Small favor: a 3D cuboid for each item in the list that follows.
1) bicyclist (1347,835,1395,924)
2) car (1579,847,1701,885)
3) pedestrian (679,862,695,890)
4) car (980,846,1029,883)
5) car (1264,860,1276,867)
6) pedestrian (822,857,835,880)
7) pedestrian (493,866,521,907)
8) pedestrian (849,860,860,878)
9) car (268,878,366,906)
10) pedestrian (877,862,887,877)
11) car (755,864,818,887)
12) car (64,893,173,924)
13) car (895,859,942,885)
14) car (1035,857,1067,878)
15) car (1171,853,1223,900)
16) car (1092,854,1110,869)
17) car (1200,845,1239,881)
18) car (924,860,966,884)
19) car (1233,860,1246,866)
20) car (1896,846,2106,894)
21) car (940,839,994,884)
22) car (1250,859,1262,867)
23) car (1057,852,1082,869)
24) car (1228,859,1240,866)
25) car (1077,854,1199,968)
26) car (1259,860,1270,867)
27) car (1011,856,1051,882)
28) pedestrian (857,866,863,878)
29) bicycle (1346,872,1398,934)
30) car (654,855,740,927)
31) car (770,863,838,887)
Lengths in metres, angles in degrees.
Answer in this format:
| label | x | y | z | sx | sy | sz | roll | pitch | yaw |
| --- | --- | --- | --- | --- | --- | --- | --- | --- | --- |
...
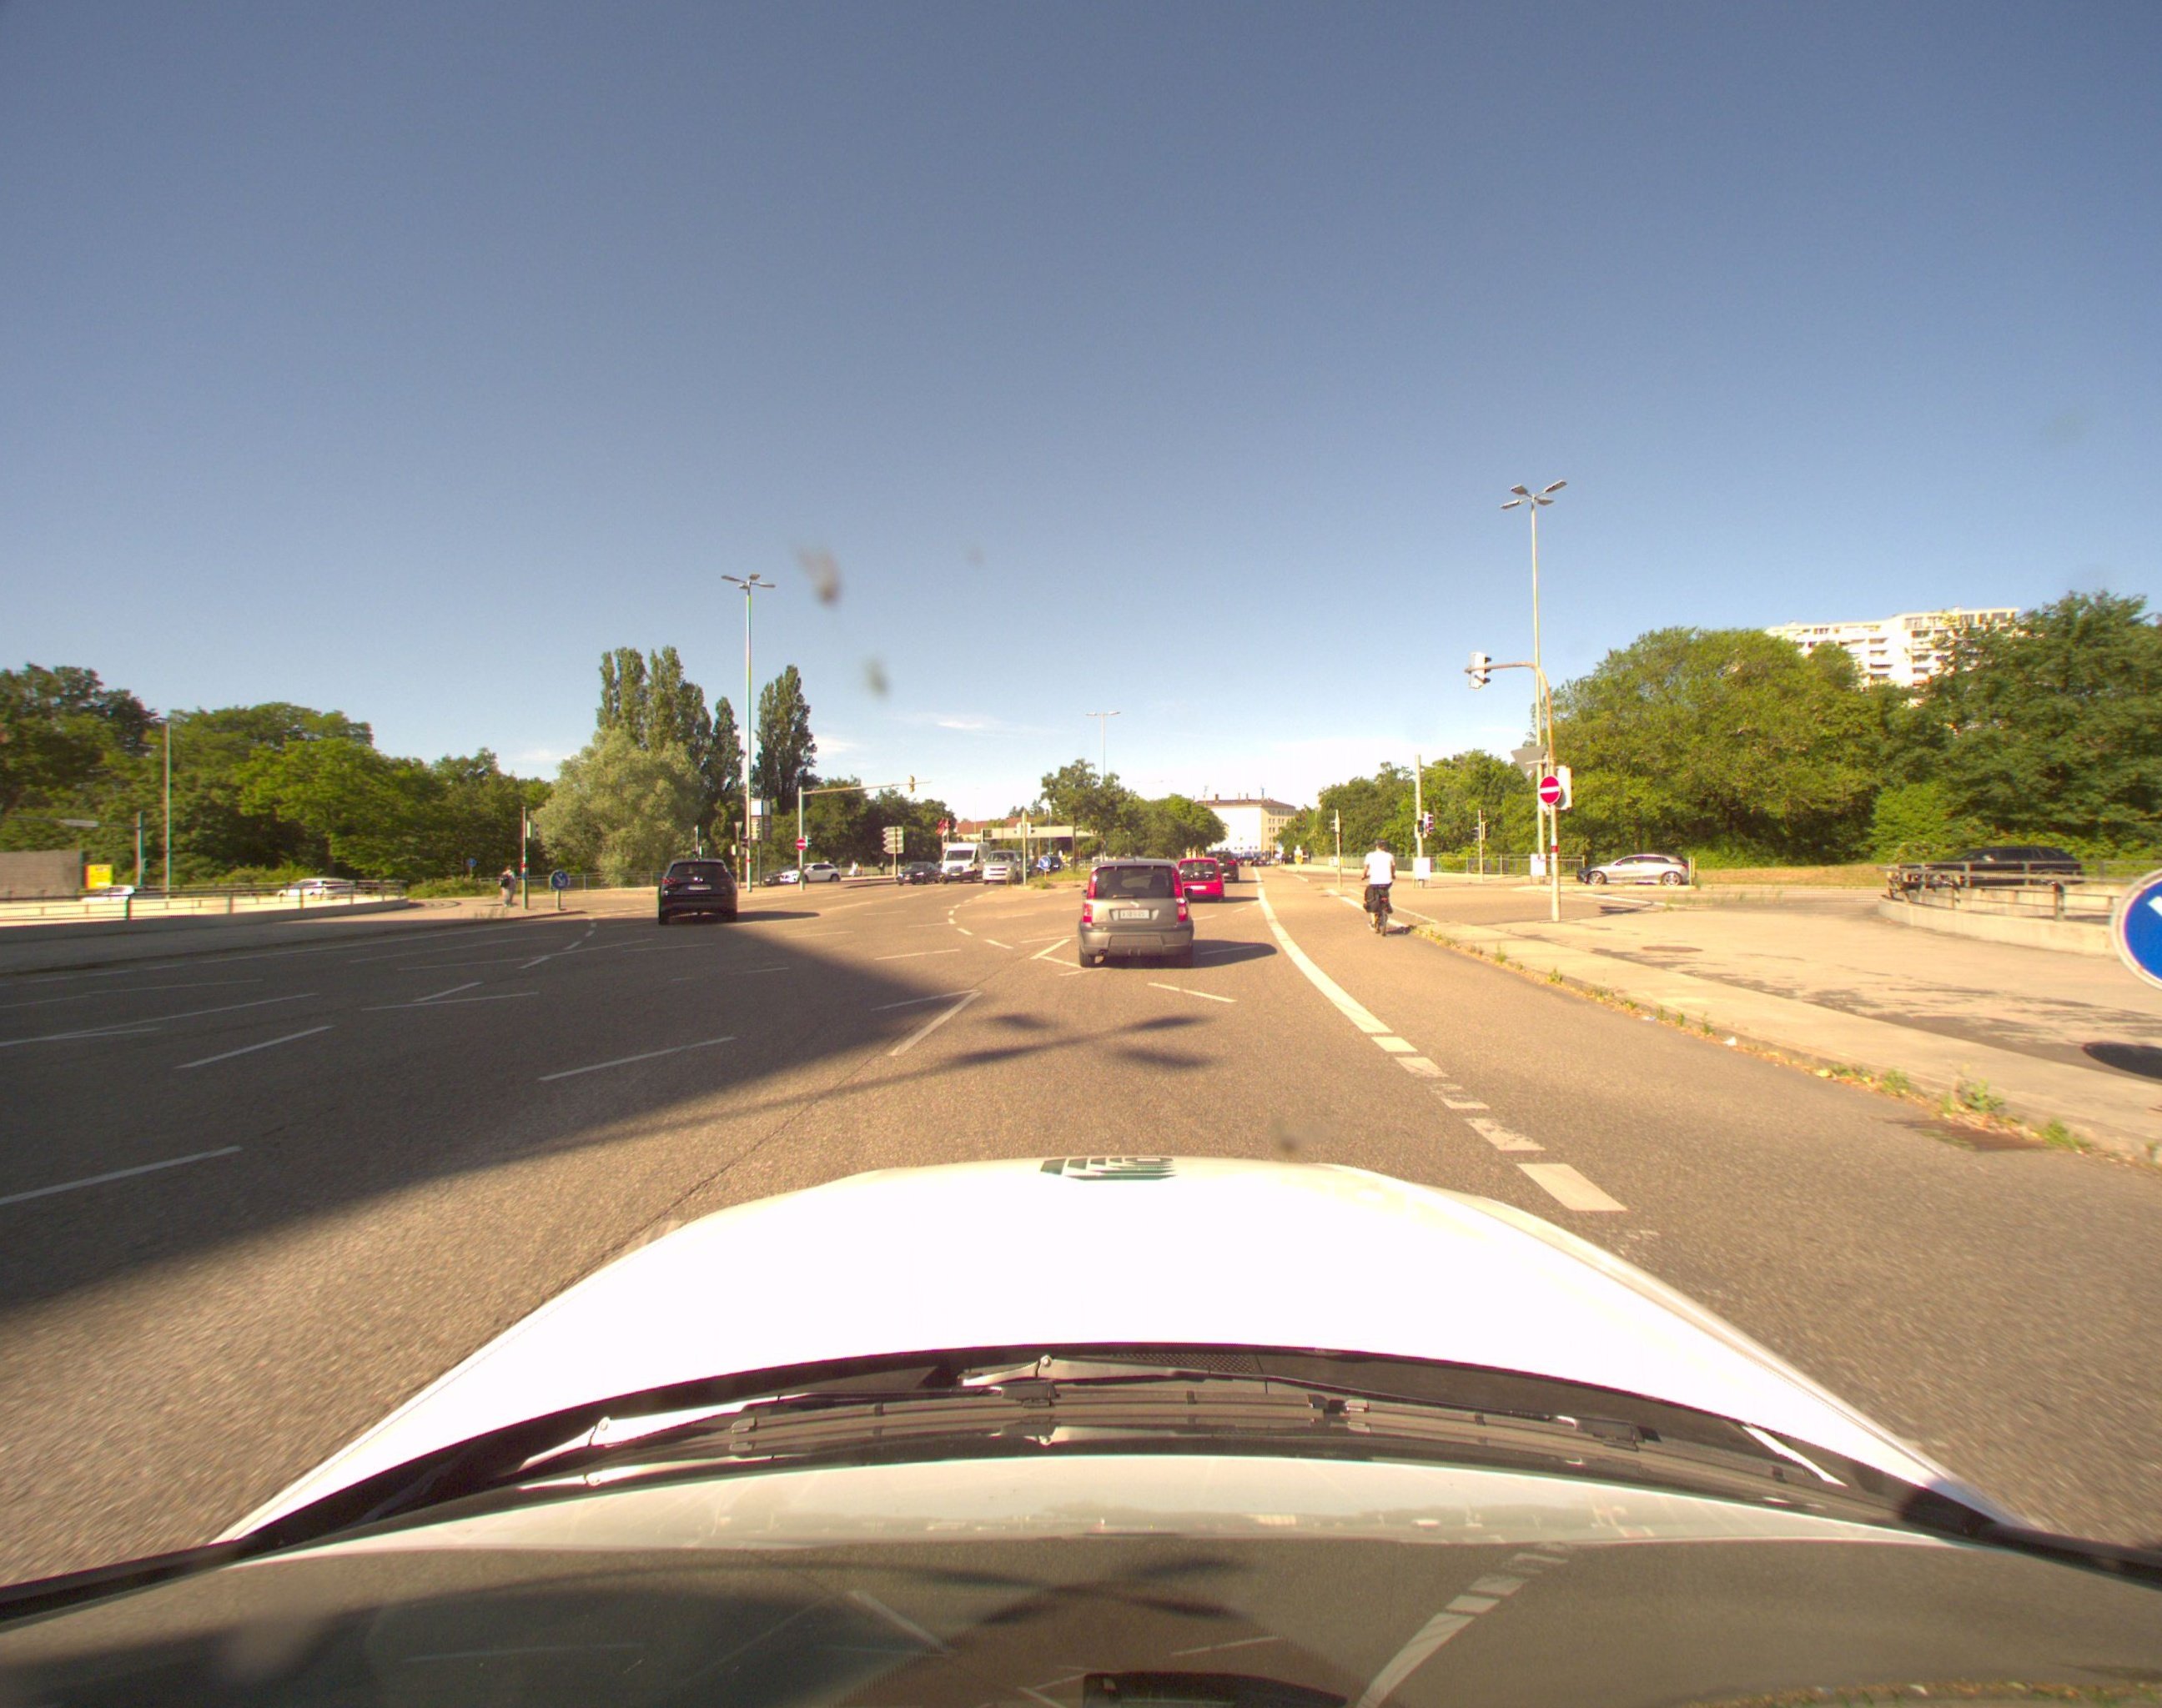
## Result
| label | x | y | z | sx | sy | sz | roll | pitch | yaw |
| --- | --- | --- | --- | --- | --- | --- | --- | --- | --- |
| bicyclist | 5.613 | 0.483 | 15.814 | 0.719 | 1.659 | 1.116 | 0 | -1 | 11 |
| car | 24.160 | 0.509 | 35.259 | 4.190 | 1.552 | 1.873 | -1 | 0 | 39 |
| pedestrian | -21.822 | 1.214 | 45.153 | 0.714 | 1.547 | 0.721 | -1 | -1 | -31 |
| car | -4.371 | 0.586 | 47.117 | 1.927 | 2.008 | 4.938 | -1 | 0 | 5 |
| car | 47.035 | 2.387 | 202.569 | 1.848 | 1.681 | 3.931 | -1 | -3 | 26 |
| pedestrian | -22.182 | 1.279 | 71.626 | 0.801 | 1.997 | 0.790 | 0 | -3 | 10 |
| pedestrian | -21.085 | 1.192 | 29.913 | 0.681 | 1.463 | 0.698 | -1 | -1 | -21 |
| pedestrian | -21.291 | 1.432 | 76.477 | 0.716 | 1.641 | 0.674 | 0 | -3 | 10 |
| car | -41.028 | 2.051 | 43.735 | 4.273 | 1.415 | 1.793 | -1 | 0 | 14 |
| pedestrian | -20.721 | 1.615 | 84.877 | 0.664 | 1.503 | 0.783 | -1 | -3 | 24 |
| car | -21.991 | 1.634 | 60.904 | 1.876 | 1.625 | 4.025 | -1 | -3 | 36 |
| car | -53.338 | 3.017 | 45.159 | 3.966 | 1.508 | 2.004 | -1 | 0 | 6 |
| car | -10.052 | 1.082 | 50.648 | 1.929 | 1.507 | 4.002 | -2 | 0 | 2 |
| car | -2.395 | 1.106 | 66.258 | 1.926 | 1.622 | 4.514 | -1 | 0 | 6 |
| car | 3.911 | 0.720 | 27.744 | 1.609 | 1.463 | 3.758 | 0 | 0 | 7 |
| car | 2.817 | 0.999 | 111.474 | 1.983 | 2.014 | 4.343 | -2 | -1 | 7 |
| car | 7.507 | 0.522 | 43.932 | 1.932 | 1.840 | 4.165 | 0 | -1 | 11 |
| car | -9.463 | 1.244 | 57.118 | 1.803 | 1.541 | 4.622 | -2 | 0 | 4 |
| car | 38.918 | 2.151 | 199.790 | 1.927 | 1.528 | 4.122 | -1 | -1 | 27 |
| car | 32.977 | 0.587 | 29.405 | 4.619 | 1.616 | 1.872 | -1 | 0 | 28 |
| car | -6.940 | 0.469 | 50.329 | 1.927 | 2.576 | 6.097 | -1 | 0 | 5 |
| car | 40.177 | 2.168 | 187.332 | 1.848 | 1.681 | 3.930 | -1 | -3 | 25 |
| car | -1.163 | 0.663 | 84.369 | 1.926 | 1.622 | 4.514 | -1 | 0 | 6 |
| car | 35.890 | 1.977 | 190.841 | 1.928 | 1.528 | 4.119 | -1 | -1 | 22 |
| car | 0.900 | 0.758 | 12.719 | 1.610 | 1.515 | 3.824 | 0 | 0 | 4 |
| car | 43.838 | 2.273 | 194.880 | 1.848 | 1.681 | 3.930 | -1 | -3 | 25 |
| car | -3.282 | 0.967 | 54.069 | 1.927 | 1.622 | 4.512 | -1 | 0 | 5 |
| pedestrian | -20.724 | 1.703 | 76.288 | 0.420 | 1.136 | 0.399 | 0 | -3 | 10 |
| bicycle | 5.593 | 0.908 | 15.747 | 0.687 | 1.102 | 1.832 | 0 | -1 | 11 |
| car | -10.216 | 0.927 | 21.823 | 1.883 | 1.709 | 4.163 | -1 | -1 | -24 |
| car | -19.541 | 1.465 | 57.583 | 1.762 | 1.535 | 4.356 | 0 | 0 | 34 |
